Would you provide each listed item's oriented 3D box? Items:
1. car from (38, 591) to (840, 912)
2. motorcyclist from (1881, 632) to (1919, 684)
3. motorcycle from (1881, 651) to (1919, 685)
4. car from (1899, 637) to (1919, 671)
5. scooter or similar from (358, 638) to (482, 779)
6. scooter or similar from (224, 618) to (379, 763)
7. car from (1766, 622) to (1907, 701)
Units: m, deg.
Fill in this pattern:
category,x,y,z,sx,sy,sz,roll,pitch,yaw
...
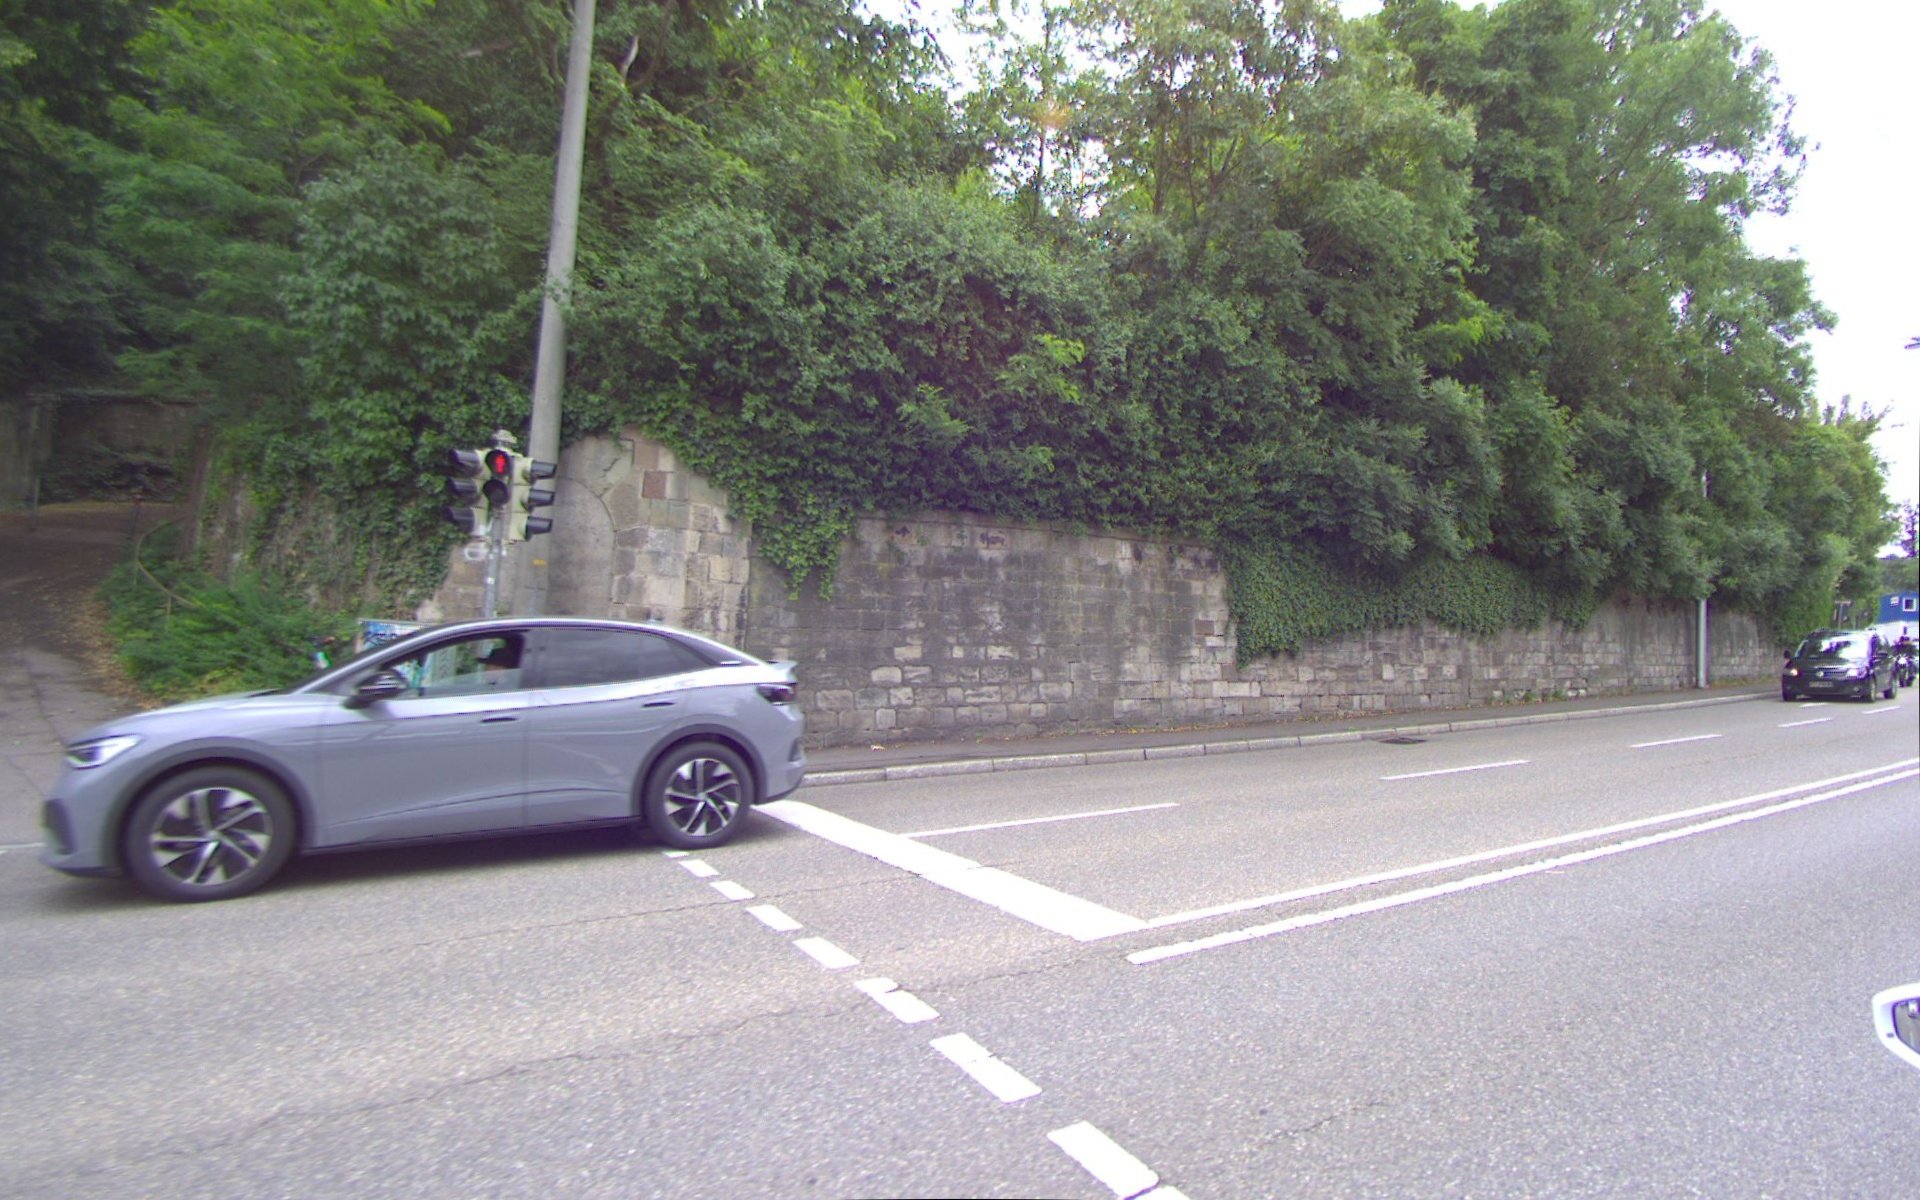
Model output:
category,x,y,z,sx,sy,sz,roll,pitch,yaw
car,-3.272,0.878,7.126,4.425,1.628,1.984,2,-4,-31
motorcyclist,31.654,1.937,33.821,1.326,1.727,0.644,2,-3,-37
motorcycle,31.876,2.289,33.955,2.286,1.087,0.645,2,-3,-37
car,43.185,2.411,44.730,4.074,1.485,1.765,3,-5,-44
scooter or similar,-5.369,1.053,9.990,1.076,1.254,0.434,4,2,18
scooter or similar,-6.773,0.910,10.342,1.323,1.253,0.434,8,3,10
car,22.699,1.572,25.982,4.206,1.869,1.733,2,-4,-35
